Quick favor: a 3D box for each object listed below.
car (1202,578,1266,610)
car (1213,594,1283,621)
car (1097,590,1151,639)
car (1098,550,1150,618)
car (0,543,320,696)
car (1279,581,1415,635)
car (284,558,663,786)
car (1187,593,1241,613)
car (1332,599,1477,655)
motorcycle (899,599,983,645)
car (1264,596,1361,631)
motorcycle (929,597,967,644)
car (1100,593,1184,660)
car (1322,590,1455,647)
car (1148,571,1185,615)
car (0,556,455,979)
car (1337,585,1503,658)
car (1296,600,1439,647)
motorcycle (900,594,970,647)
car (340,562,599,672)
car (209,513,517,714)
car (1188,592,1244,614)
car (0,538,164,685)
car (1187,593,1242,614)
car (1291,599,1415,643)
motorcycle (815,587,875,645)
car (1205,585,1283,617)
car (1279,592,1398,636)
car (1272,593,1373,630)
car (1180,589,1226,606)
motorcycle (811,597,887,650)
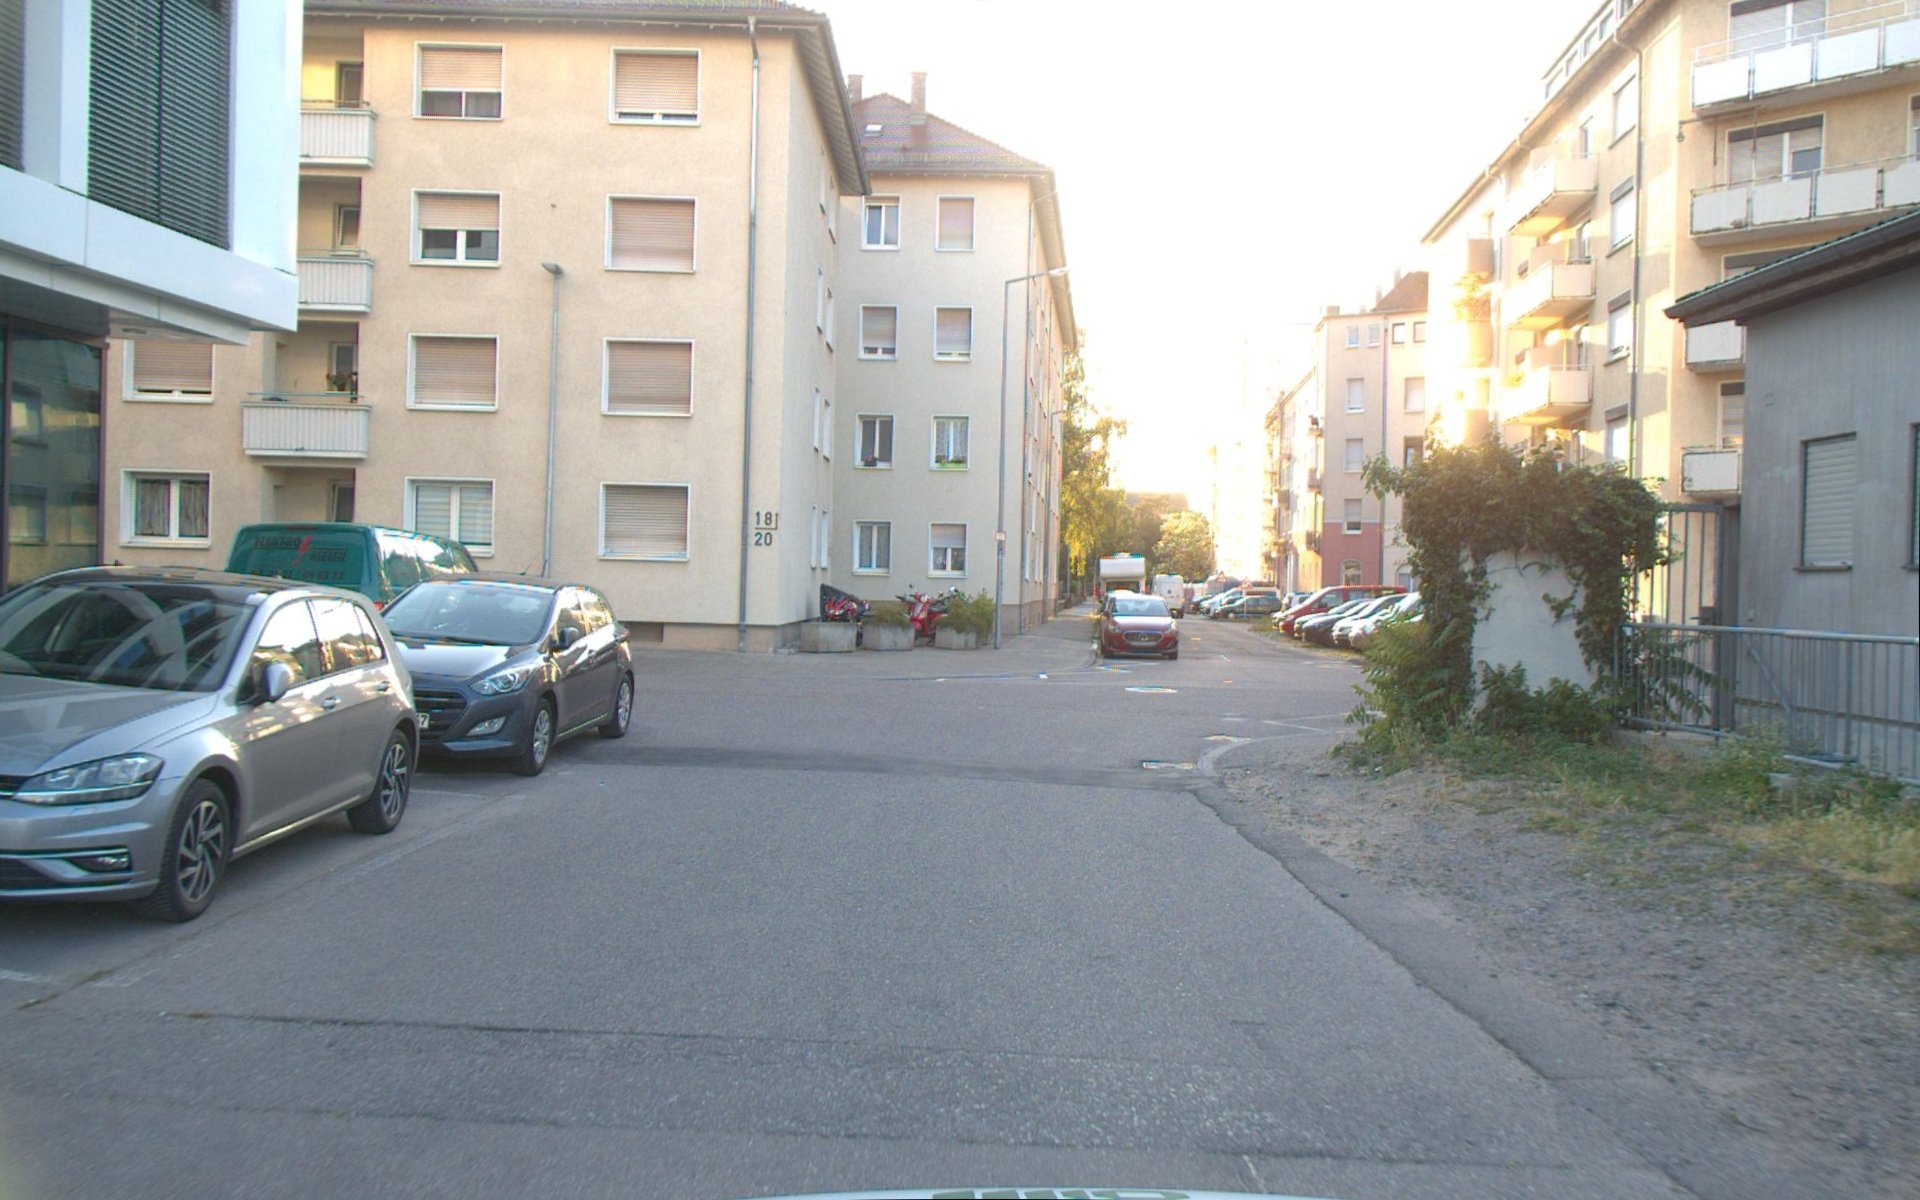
[{"bbox_3d":[18.216,-0.397,109.940,3.904,2.049,2.000,1,0,1],"label":"car"},{"bbox_3d":[16.890,0.449,96.988,3.903,1.557,1.660,0,0,5],"label":"car"},{"bbox_3d":[5.151,0.449,52.185,1.582,1.499,3.506,0,0,4],"label":"car"},{"bbox_3d":[8.458,-0.785,85.434,2.564,3.326,7.701,0,0,5],"label":"car"},{"bbox_3d":[-9.450,0.269,19.753,1.743,1.577,4.331,2,-2,2],"label":"car"},{"bbox_3d":[14.162,0.307,60.725,4.622,1.943,2.060,0,-1,4],"label":"car"},{"bbox_3d":[-3.939,0.512,14.225,1.743,1.504,4.332,5,0,2],"label":"car"},{"bbox_3d":[19.270,0.224,125.593,3.903,1.557,1.660,0,0,5],"label":"car"},{"bbox_3d":[12.968,0.775,48.426,3.872,1.549,1.707,1,0,5],"label":"car"},{"bbox_3d":[-0.497,0.572,43.014,2.079,1.124,0.560,2,0,17],"label":"motorcycle"},{"bbox_3d":[14.552,0.560,68.396,3.731,1.453,1.635,0,-1,4],"label":"car"},{"bbox_3d":[-0.279,0.490,40.791,0.667,1.098,2.036,2,0,6],"label":"motorcycle"},{"bbox_3d":[4.367,0.606,40.204,1.806,1.499,4.080,1,0,4],"label":"car"},{"bbox_3d":[13.105,0.561,50.715,3.710,1.725,1.656,0,-1,5],"label":"car"},{"bbox_3d":[13.188,-0.417,105.735,2.084,2.765,4.835,0,0,4],"label":"car"},{"bbox_3d":[-4.079,0.603,8.401,1.676,1.504,4.184,5,0,-1],"label":"car"},{"bbox_3d":[12.791,0.594,46.191,4.189,1.893,1.742,2,0,5],"label":"car"},{"bbox_3d":[12.968,0.750,52.802,4.217,1.475,1.656,0,-1,5],"label":"car"},{"bbox_3d":[-0.570,0.467,38.466,0.675,1.180,2.030,2,0,29],"label":"motorcycle"},{"bbox_3d":[-8.467,0.261,28.806,3.925,1.645,1.882,1,4,0],"label":"car"},{"bbox_3d":[-6.765,0.102,19.348,1.760,2.014,4.690,2,1,1],"label":"car"},{"bbox_3d":[18.693,0.235,120.900,3.903,1.557,1.660,0,0,5],"label":"car"},{"bbox_3d":[-11.817,0.149,20.436,1.693,1.688,4.331,2,-2,2],"label":"car"},{"bbox_3d":[18.981,0.228,123.462,3.903,1.557,1.660,0,0,5],"label":"car"},{"bbox_3d":[13.783,0.740,58.176,4.057,1.497,1.637,0,-1,4],"label":"car"},{"bbox_3d":[-2.653,0.373,38.406,0.708,1.287,2.082,2,0,15],"label":"motorcycle"},{"bbox_3d":[17.816,0.062,103.924,4.711,2.002,1.740,0,0,4],"label":"car"},{"bbox_3d":[14.493,0.523,63.558,4.233,1.666,1.819,0,-1,4],"label":"car"},{"bbox_3d":[14.417,0.474,65.882,3.731,1.453,1.635,0,-1,4],"label":"car"},{"bbox_3d":[21.516,-0.225,146.377,3.903,1.557,1.660,0,0,5],"label":"car"},{"bbox_3d":[-2.403,0.504,36.082,0.709,1.098,2.079,2,0,25],"label":"motorcycle"}]
